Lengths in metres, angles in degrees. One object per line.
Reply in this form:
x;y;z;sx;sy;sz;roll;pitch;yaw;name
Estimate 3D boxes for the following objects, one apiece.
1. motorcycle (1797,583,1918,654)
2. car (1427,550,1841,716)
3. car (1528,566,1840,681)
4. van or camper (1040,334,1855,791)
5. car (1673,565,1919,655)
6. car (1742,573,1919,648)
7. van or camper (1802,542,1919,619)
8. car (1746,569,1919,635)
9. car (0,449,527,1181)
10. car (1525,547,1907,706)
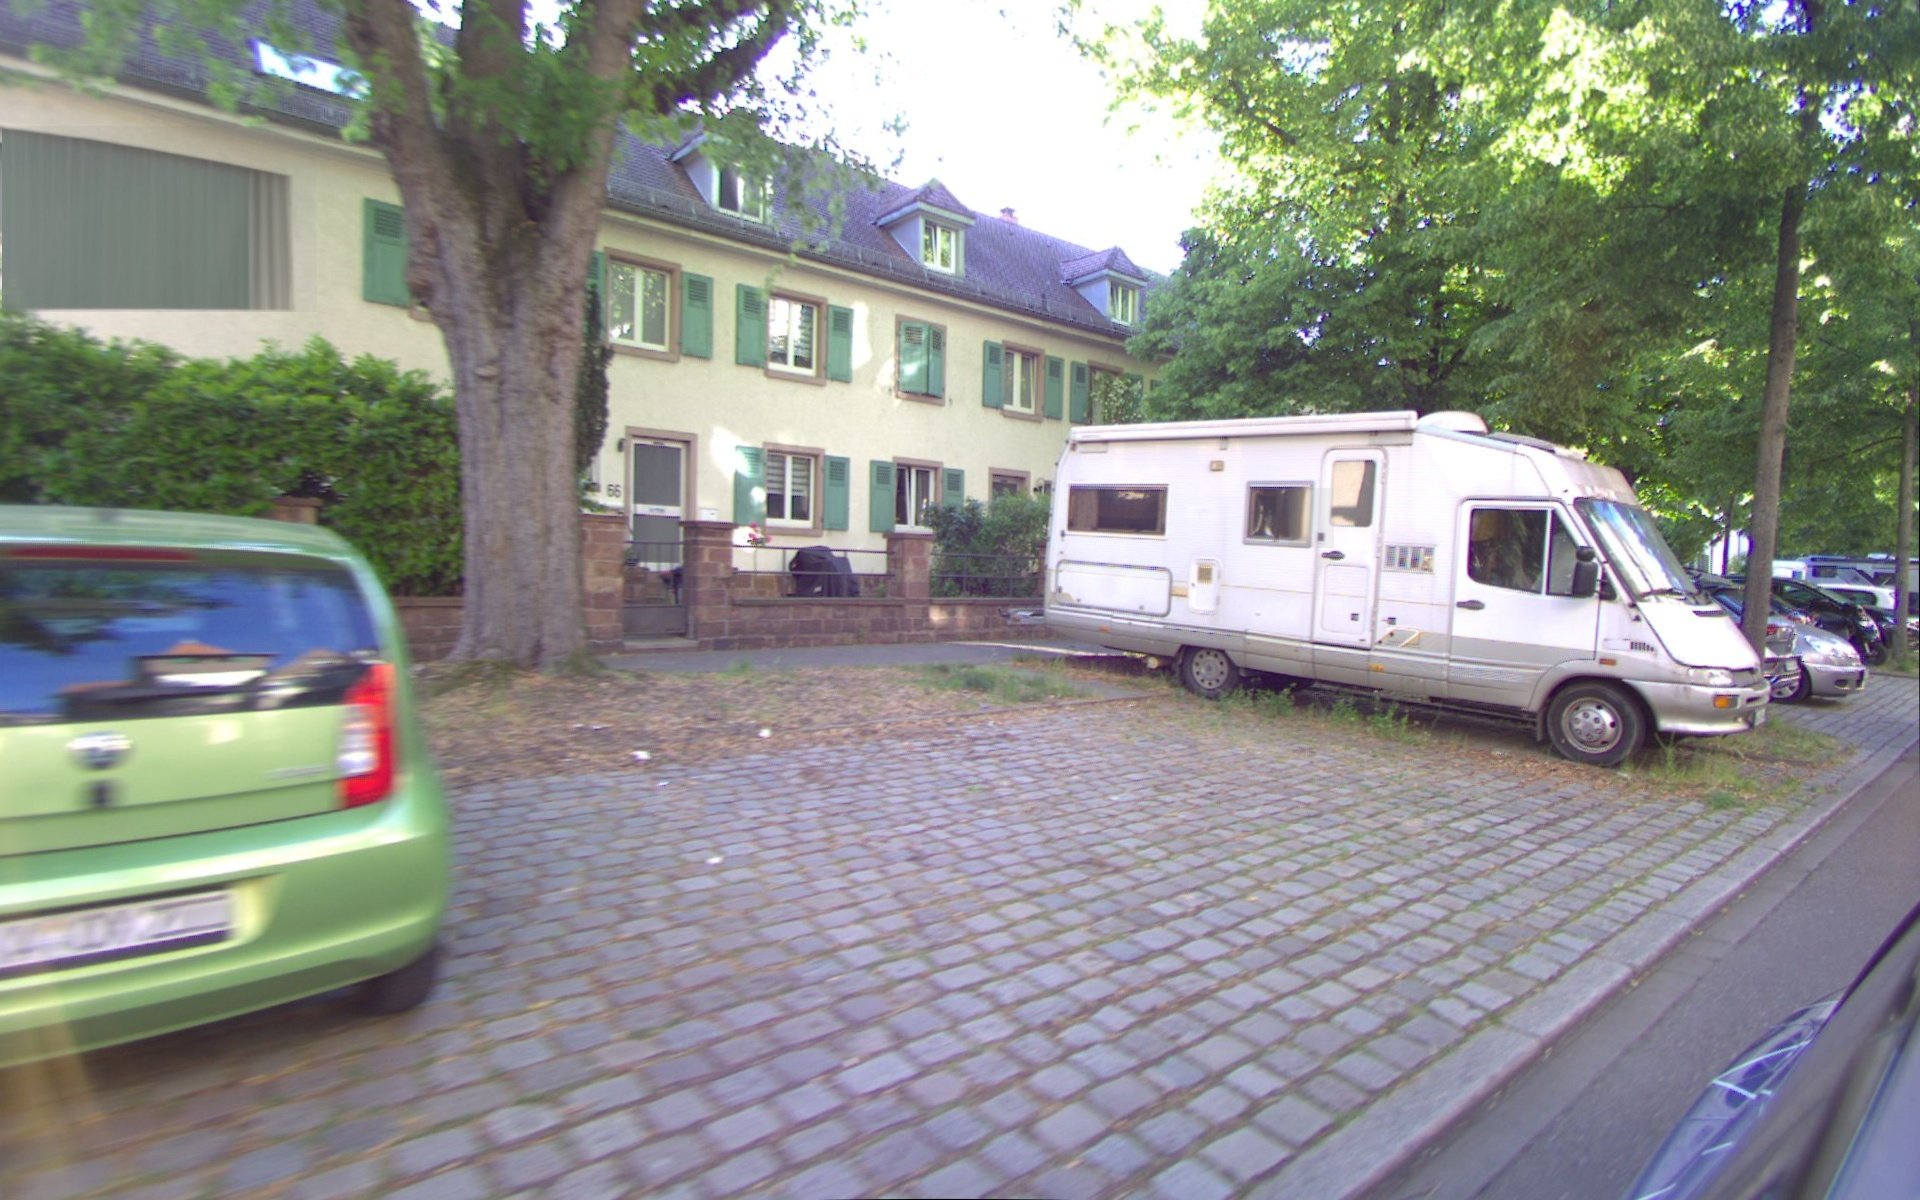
16.532;0.306;18.701;0.725;1.212;1.774;1;2;5;motorcycle
8.449;0.266;13.009;1.869;1.617;3.975;-1;5;-38;car
11.682;0.269;16.493;3.878;1.490;1.759;5;5;44;car
4.256;-0.386;10.336;2.423;3.115;7.085;0;2;-43;van or camper
18.183;0.128;21.725;1.895;1.627;4.341;-1;4;-42;car
20.284;0.194;23.179;1.664;1.493;3.455;0;3;-41;car
37.568;-0.779;39.235;2.386;2.939;7.263;-2;3;-40;van or camper
24.464;0.036;27.592;1.722;1.495;4.470;0;4;-39;car
-2.969;0.344;3.607;1.648;1.523;3.598;1;3;-40;car
10.365;0.228;14.130;1.699;1.765;3.924;-1;5;-40;car
